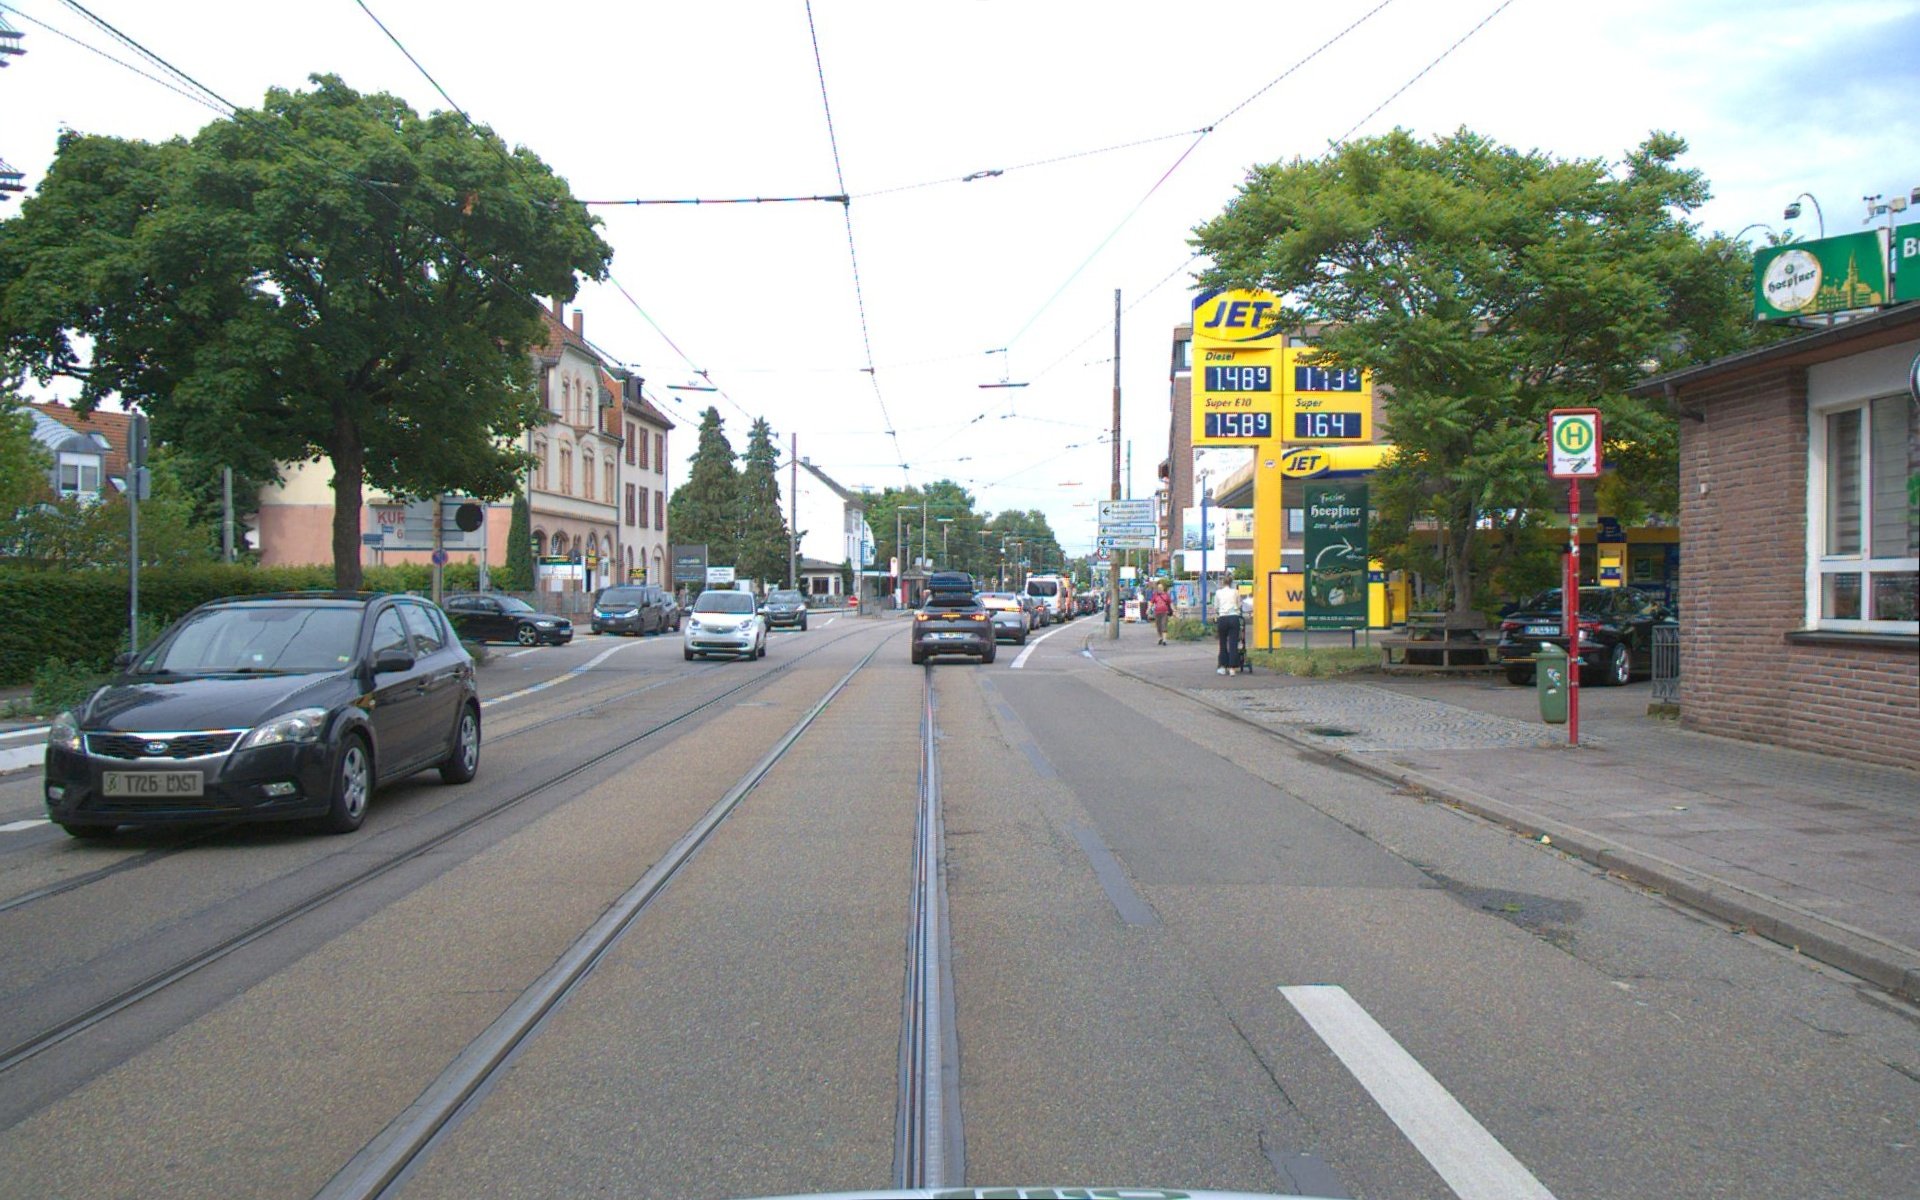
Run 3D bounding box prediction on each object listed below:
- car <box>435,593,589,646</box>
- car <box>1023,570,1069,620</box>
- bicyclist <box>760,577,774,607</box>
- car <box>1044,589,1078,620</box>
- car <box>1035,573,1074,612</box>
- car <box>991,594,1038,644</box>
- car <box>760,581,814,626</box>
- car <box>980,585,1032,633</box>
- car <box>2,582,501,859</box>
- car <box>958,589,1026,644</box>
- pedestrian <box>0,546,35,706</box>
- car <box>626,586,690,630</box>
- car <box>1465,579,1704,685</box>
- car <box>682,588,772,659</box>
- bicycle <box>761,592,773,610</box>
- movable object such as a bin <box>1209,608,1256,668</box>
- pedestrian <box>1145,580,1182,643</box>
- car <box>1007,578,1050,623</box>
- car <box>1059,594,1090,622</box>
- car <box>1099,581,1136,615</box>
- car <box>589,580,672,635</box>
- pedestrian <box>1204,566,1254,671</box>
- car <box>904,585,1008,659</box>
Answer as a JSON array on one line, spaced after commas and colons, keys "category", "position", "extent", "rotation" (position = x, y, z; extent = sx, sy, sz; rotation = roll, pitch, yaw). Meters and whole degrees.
[{"category": "car", "position": [-12.540, 0.518, 46.304], "extent": [3.838, 1.412, 1.802], "rotation": [0, 0, 20]}, {"category": "car", "position": [4.455, -0.227, 86.192], "extent": [2.170, 2.465, 4.952], "rotation": [1, 0, 1]}, {"category": "bicyclist", "position": [-11.571, -0.463, 99.145], "extent": [0.722, 1.780, 0.976], "rotation": [-1, 0, -11]}, {"category": "car", "position": [6.816, 0.309, 112.369], "extent": [1.953, 2.049, 3.999], "rotation": [1, 0, -1]}, {"category": "car", "position": [5.435, -0.405, 95.723], "extent": [2.095, 2.183, 4.745], "rotation": [1, 0, 2]}, {"category": "car", "position": [2.368, 0.817, 72.428], "extent": [1.952, 2.049, 4.000], "rotation": [1, 0, 1]}, {"category": "car", "position": [-7.038, 0.160, 67.665], "extent": [1.790, 1.768, 4.334], "rotation": [0, 0, 0]}, {"category": "car", "position": [1.761, 0.353, 64.312], "extent": [1.928, 1.787, 3.838], "rotation": [1, 0, 1]}, {"category": "car", "position": [-4.565, 0.660, 11.385], "extent": [1.712, 1.512, 4.062], "rotation": [-1, 1, -1]}, {"category": "car", "position": [0.946, 0.470, 50.876], "extent": [1.941, 1.577, 4.182], "rotation": [1, 0, -1]}, {"category": "pedestrian", "position": [-12.565, 0.326, 21.235], "extent": [0.695, 2.049, 0.991], "rotation": [1, -1, 6]}, {"category": "car", "position": [-12.676, 0.358, 69.602], "extent": [1.806, 1.748, 4.193], "rotation": [1, 0, 1]}, {"category": "car", "position": [9.679, 0.428, 25.439], "extent": [1.901, 1.432, 4.556], "rotation": [0, 1, 42]}, {"category": "car", "position": [-5.362, 0.538, 38.364], "extent": [1.669, 1.556, 3.740], "rotation": [1, 0, -2]}, {"category": "bicycle", "position": [-11.561, 0.052, 99.142], "extent": [0.576, 1.092, 1.952], "rotation": [-1, 0, -11]}, {"category": "movable object such as a bin", "position": [5.046, 0.700, 30.579], "extent": [0.751, 1.057, 1.025], "rotation": [-2, 0, 13]}, {"category": "pedestrian", "position": [5.910, 0.328, 48.025], "extent": [0.951, 1.769, 0.861], "rotation": [-2, -1, 2]}, {"category": "car", "position": [3.257, 0.051, 78.644], "extent": [1.952, 2.049, 4.001], "rotation": [1, 0, 3]}, {"category": "car", "position": [8.631, 0.609, 124.694], "extent": [1.953, 2.049, 3.999], "rotation": [1, 0, -1]}, {"category": "car", "position": [8.974, -0.118, 94.692], "extent": [1.835, 1.855, 4.097], "rotation": [1, 0, 2]}, {"category": "car", "position": [-12.448, 0.293, 62.744], "extent": [1.950, 1.920, 4.999], "rotation": [1, 0, 2]}, {"category": "pedestrian", "position": [4.848, 0.331, 29.787], "extent": [0.751, 1.828, 1.163], "rotation": [-2, 0, 13]}, {"category": "car", "position": [-0.021, 0.484, 36.946], "extent": [1.948, 1.523, 4.328], "rotation": [-1, -1, 5]}]
